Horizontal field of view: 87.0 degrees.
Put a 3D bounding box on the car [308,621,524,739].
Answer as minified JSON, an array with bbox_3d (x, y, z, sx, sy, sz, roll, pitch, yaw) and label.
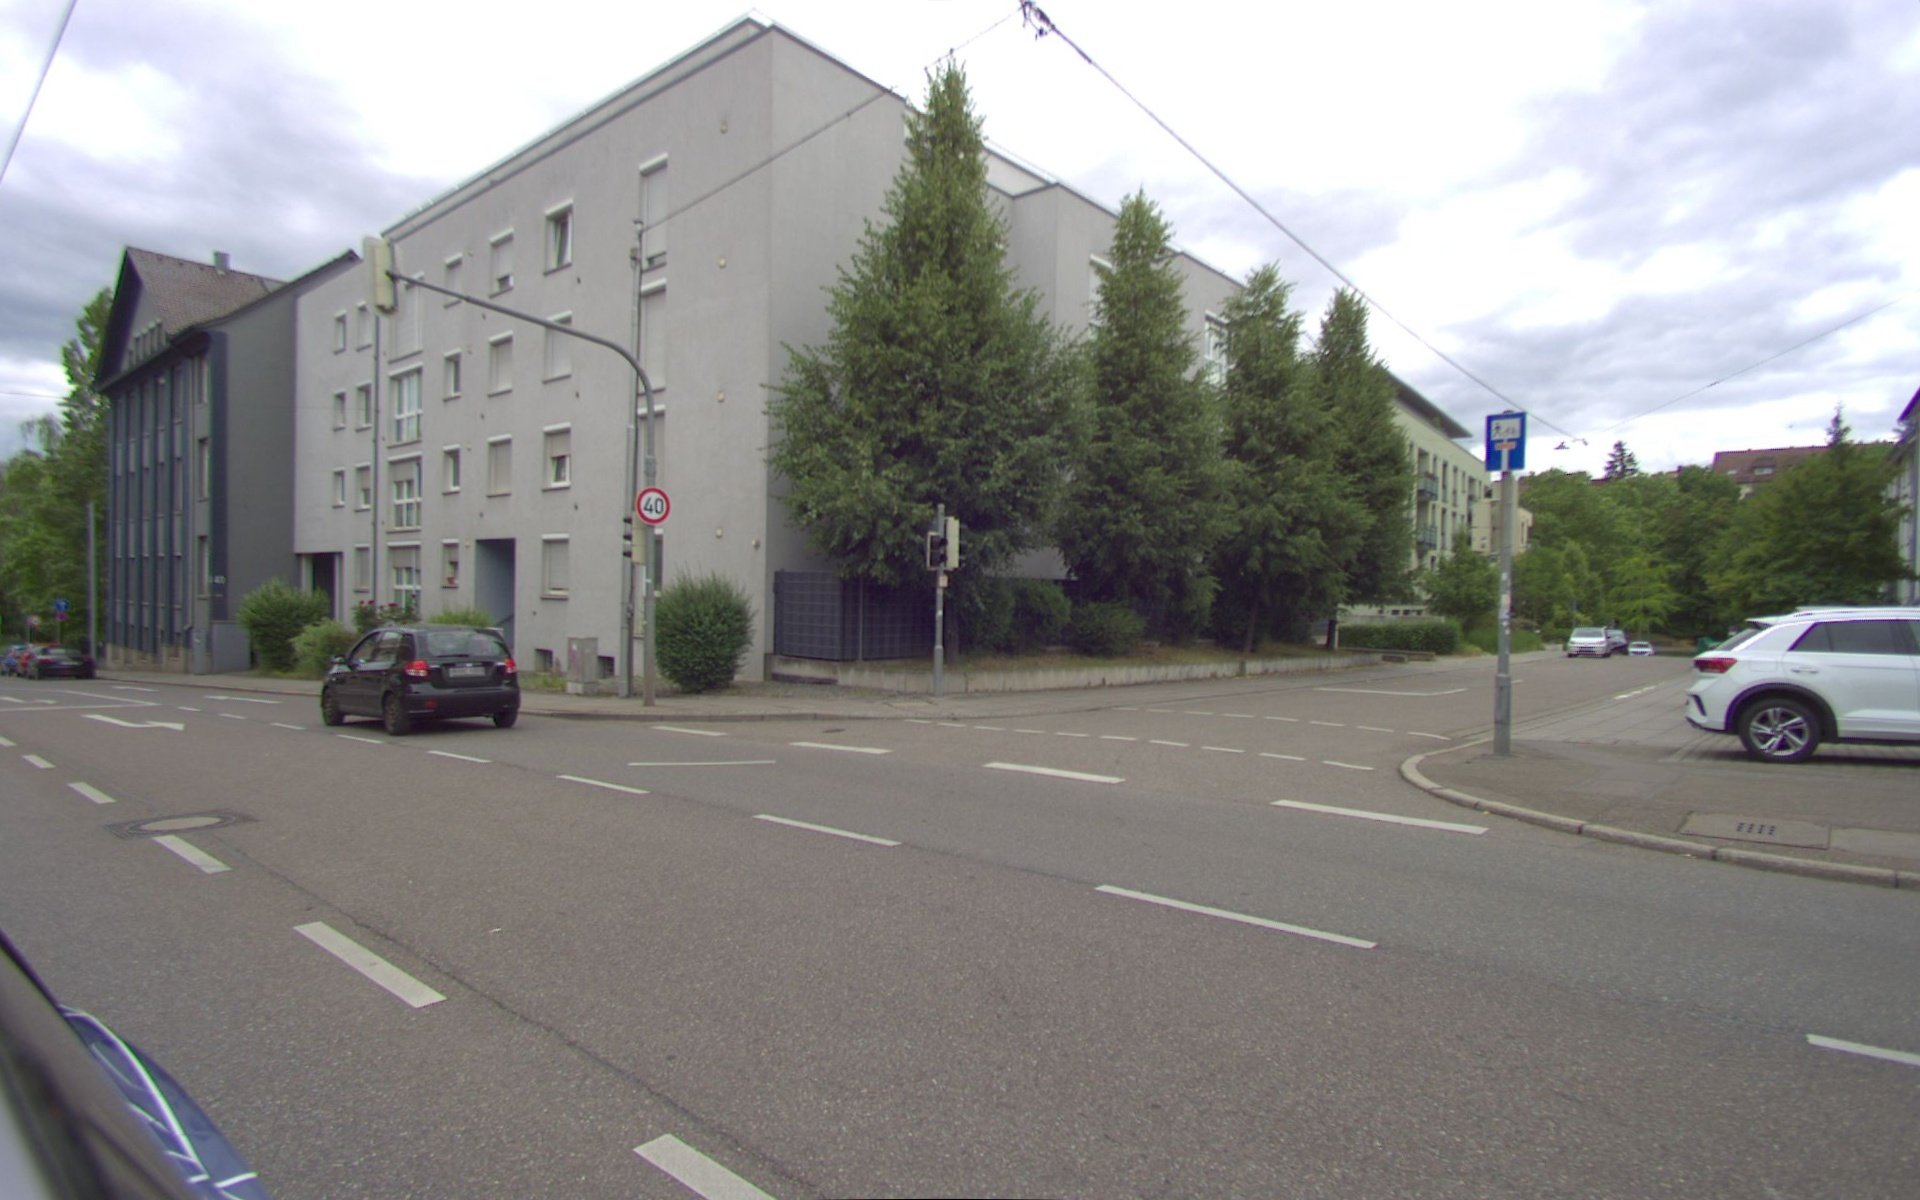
[{"bbox_3d":[-7.857,1.053,14.503,3.614,1.475,1.570,-2,-2,41],"label":"car"}]

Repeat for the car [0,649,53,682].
[{"bbox_3d":[-44.605,3.060,48.101,3.998,1.420,1.776,-2,-2,41],"label":"car"}]

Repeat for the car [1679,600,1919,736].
[{"bbox_3d":[12.805,0.944,14.268,4.252,1.772,1.975,-3,-4,37],"label":"car"}]

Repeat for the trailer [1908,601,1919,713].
[{"bbox_3d":[18.996,1.011,18.007,2.969,2.029,1.739,-2,-2,41],"label":"trailer"}]

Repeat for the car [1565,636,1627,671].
[{"bbox_3d":[31.330,2.616,49.831,1.999,1.597,3.945,-2,-2,41],"label":"car"}]

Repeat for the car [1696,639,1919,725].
[{"bbox_3d":[14.482,1.283,16.260,4.252,1.281,1.975,-3,-4,37],"label":"car"}]

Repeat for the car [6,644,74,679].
[{"bbox_3d":[-40.497,2.661,44.530,3.998,1.420,1.776,-2,-2,41],"label":"car"}]

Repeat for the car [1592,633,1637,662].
[{"bbox_3d":[37.037,2.666,57.249,1.995,1.422,3.953,0,0,35],"label":"car"}]

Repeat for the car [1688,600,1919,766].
[{"bbox_3d":[9.821,0.795,9.954,4.252,1.549,1.797,-3,-4,37],"label":"car"}]

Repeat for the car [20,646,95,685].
[{"bbox_3d":[-36.166,2.581,40.522,3.998,1.420,1.776,-2,-2,41],"label":"car"}]
